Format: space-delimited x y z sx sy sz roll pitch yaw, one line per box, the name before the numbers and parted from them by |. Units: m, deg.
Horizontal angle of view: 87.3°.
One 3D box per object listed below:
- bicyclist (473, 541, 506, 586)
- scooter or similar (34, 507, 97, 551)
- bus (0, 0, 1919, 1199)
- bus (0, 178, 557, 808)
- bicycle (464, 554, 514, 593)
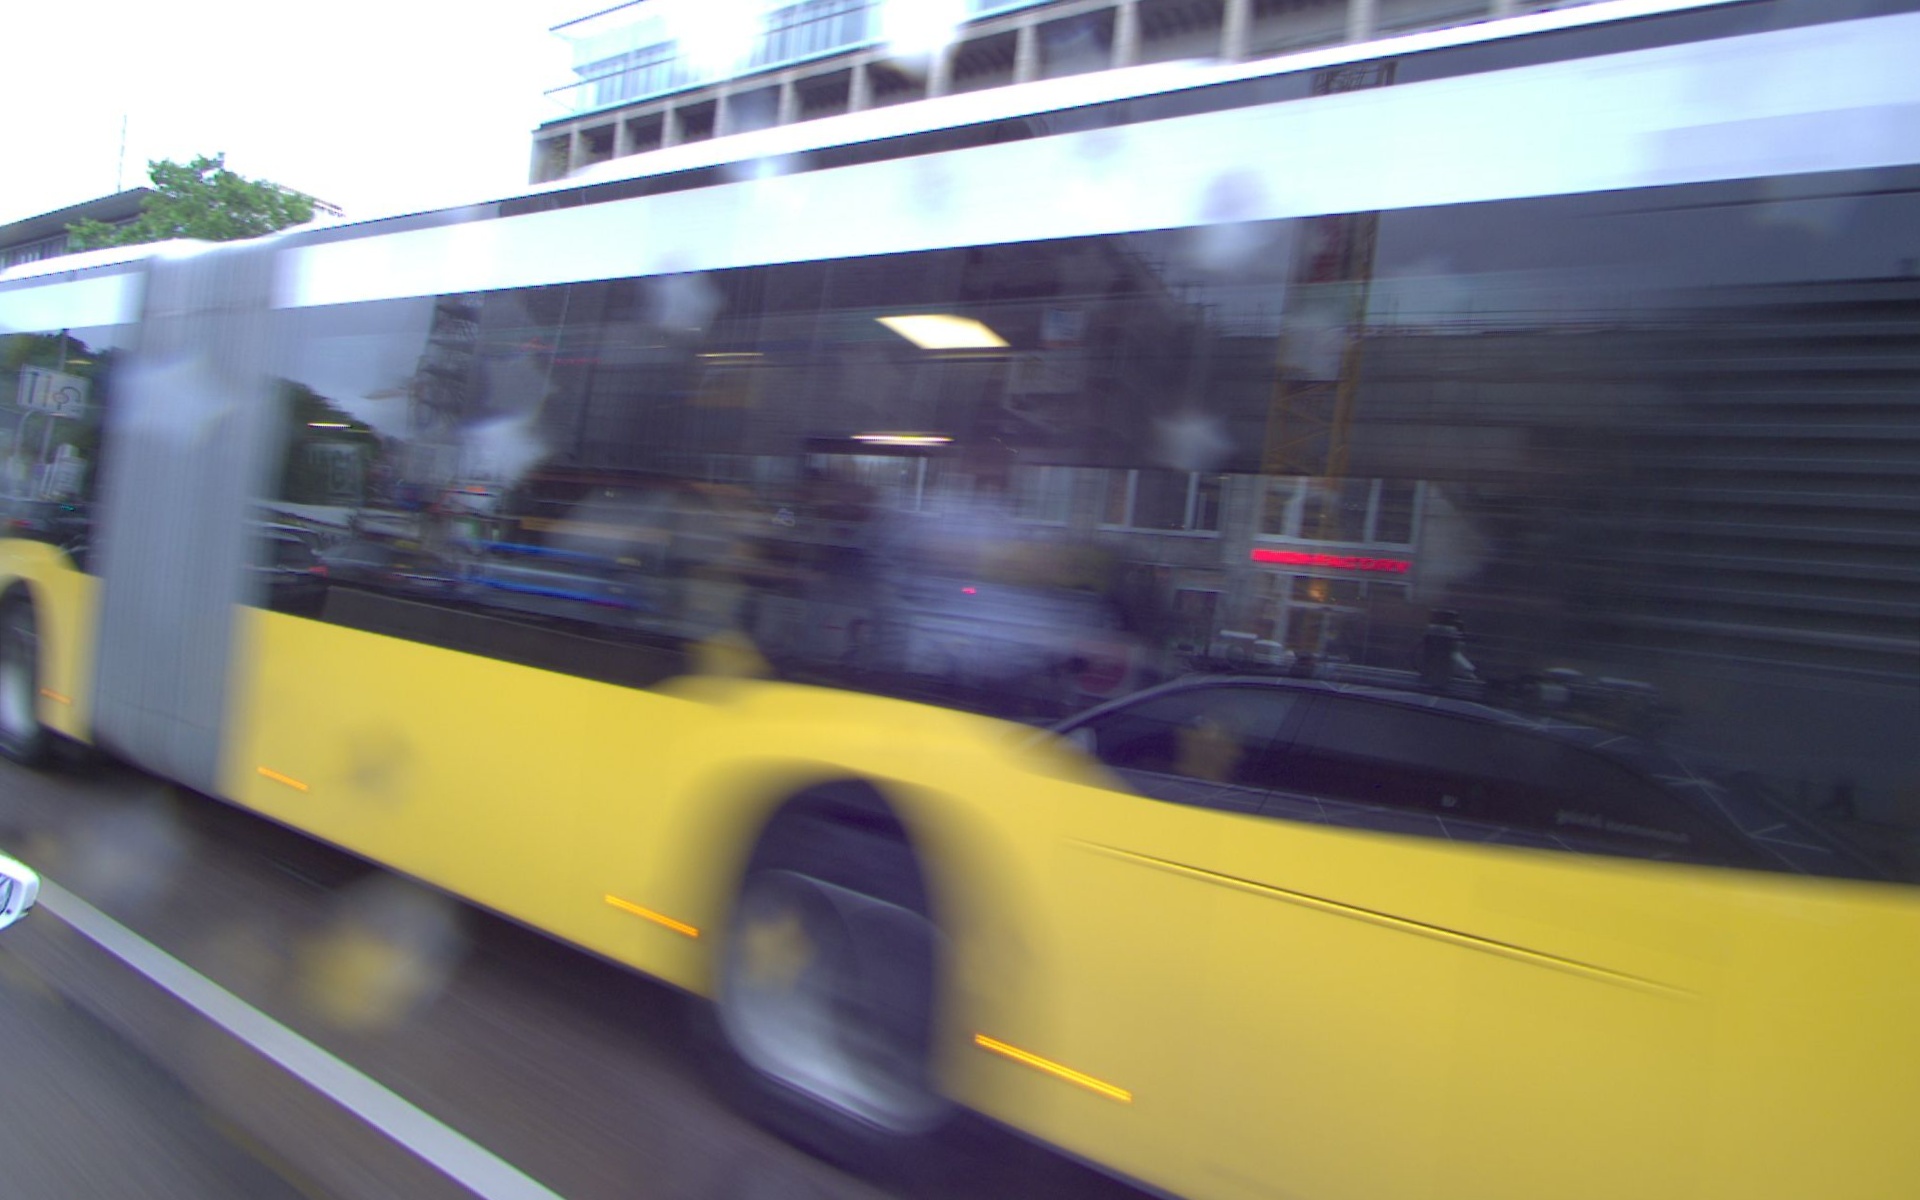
bicyclist | -17.881 -1.388 38.203 0.893 1.574 0.650 6 1 33
scooter or similar | -29.551 -2.337 33.262 1.348 1.246 0.568 7 0 -15
bus | -0.306 -0.047 4.126 8.984 3.286 3.146 6 -1 32
bus | -7.969 -0.812 8.818 9.087 3.243 3.119 6 -1 31
bicycle | -17.984 -1.000 38.400 1.980 1.271 0.660 7 1 33
